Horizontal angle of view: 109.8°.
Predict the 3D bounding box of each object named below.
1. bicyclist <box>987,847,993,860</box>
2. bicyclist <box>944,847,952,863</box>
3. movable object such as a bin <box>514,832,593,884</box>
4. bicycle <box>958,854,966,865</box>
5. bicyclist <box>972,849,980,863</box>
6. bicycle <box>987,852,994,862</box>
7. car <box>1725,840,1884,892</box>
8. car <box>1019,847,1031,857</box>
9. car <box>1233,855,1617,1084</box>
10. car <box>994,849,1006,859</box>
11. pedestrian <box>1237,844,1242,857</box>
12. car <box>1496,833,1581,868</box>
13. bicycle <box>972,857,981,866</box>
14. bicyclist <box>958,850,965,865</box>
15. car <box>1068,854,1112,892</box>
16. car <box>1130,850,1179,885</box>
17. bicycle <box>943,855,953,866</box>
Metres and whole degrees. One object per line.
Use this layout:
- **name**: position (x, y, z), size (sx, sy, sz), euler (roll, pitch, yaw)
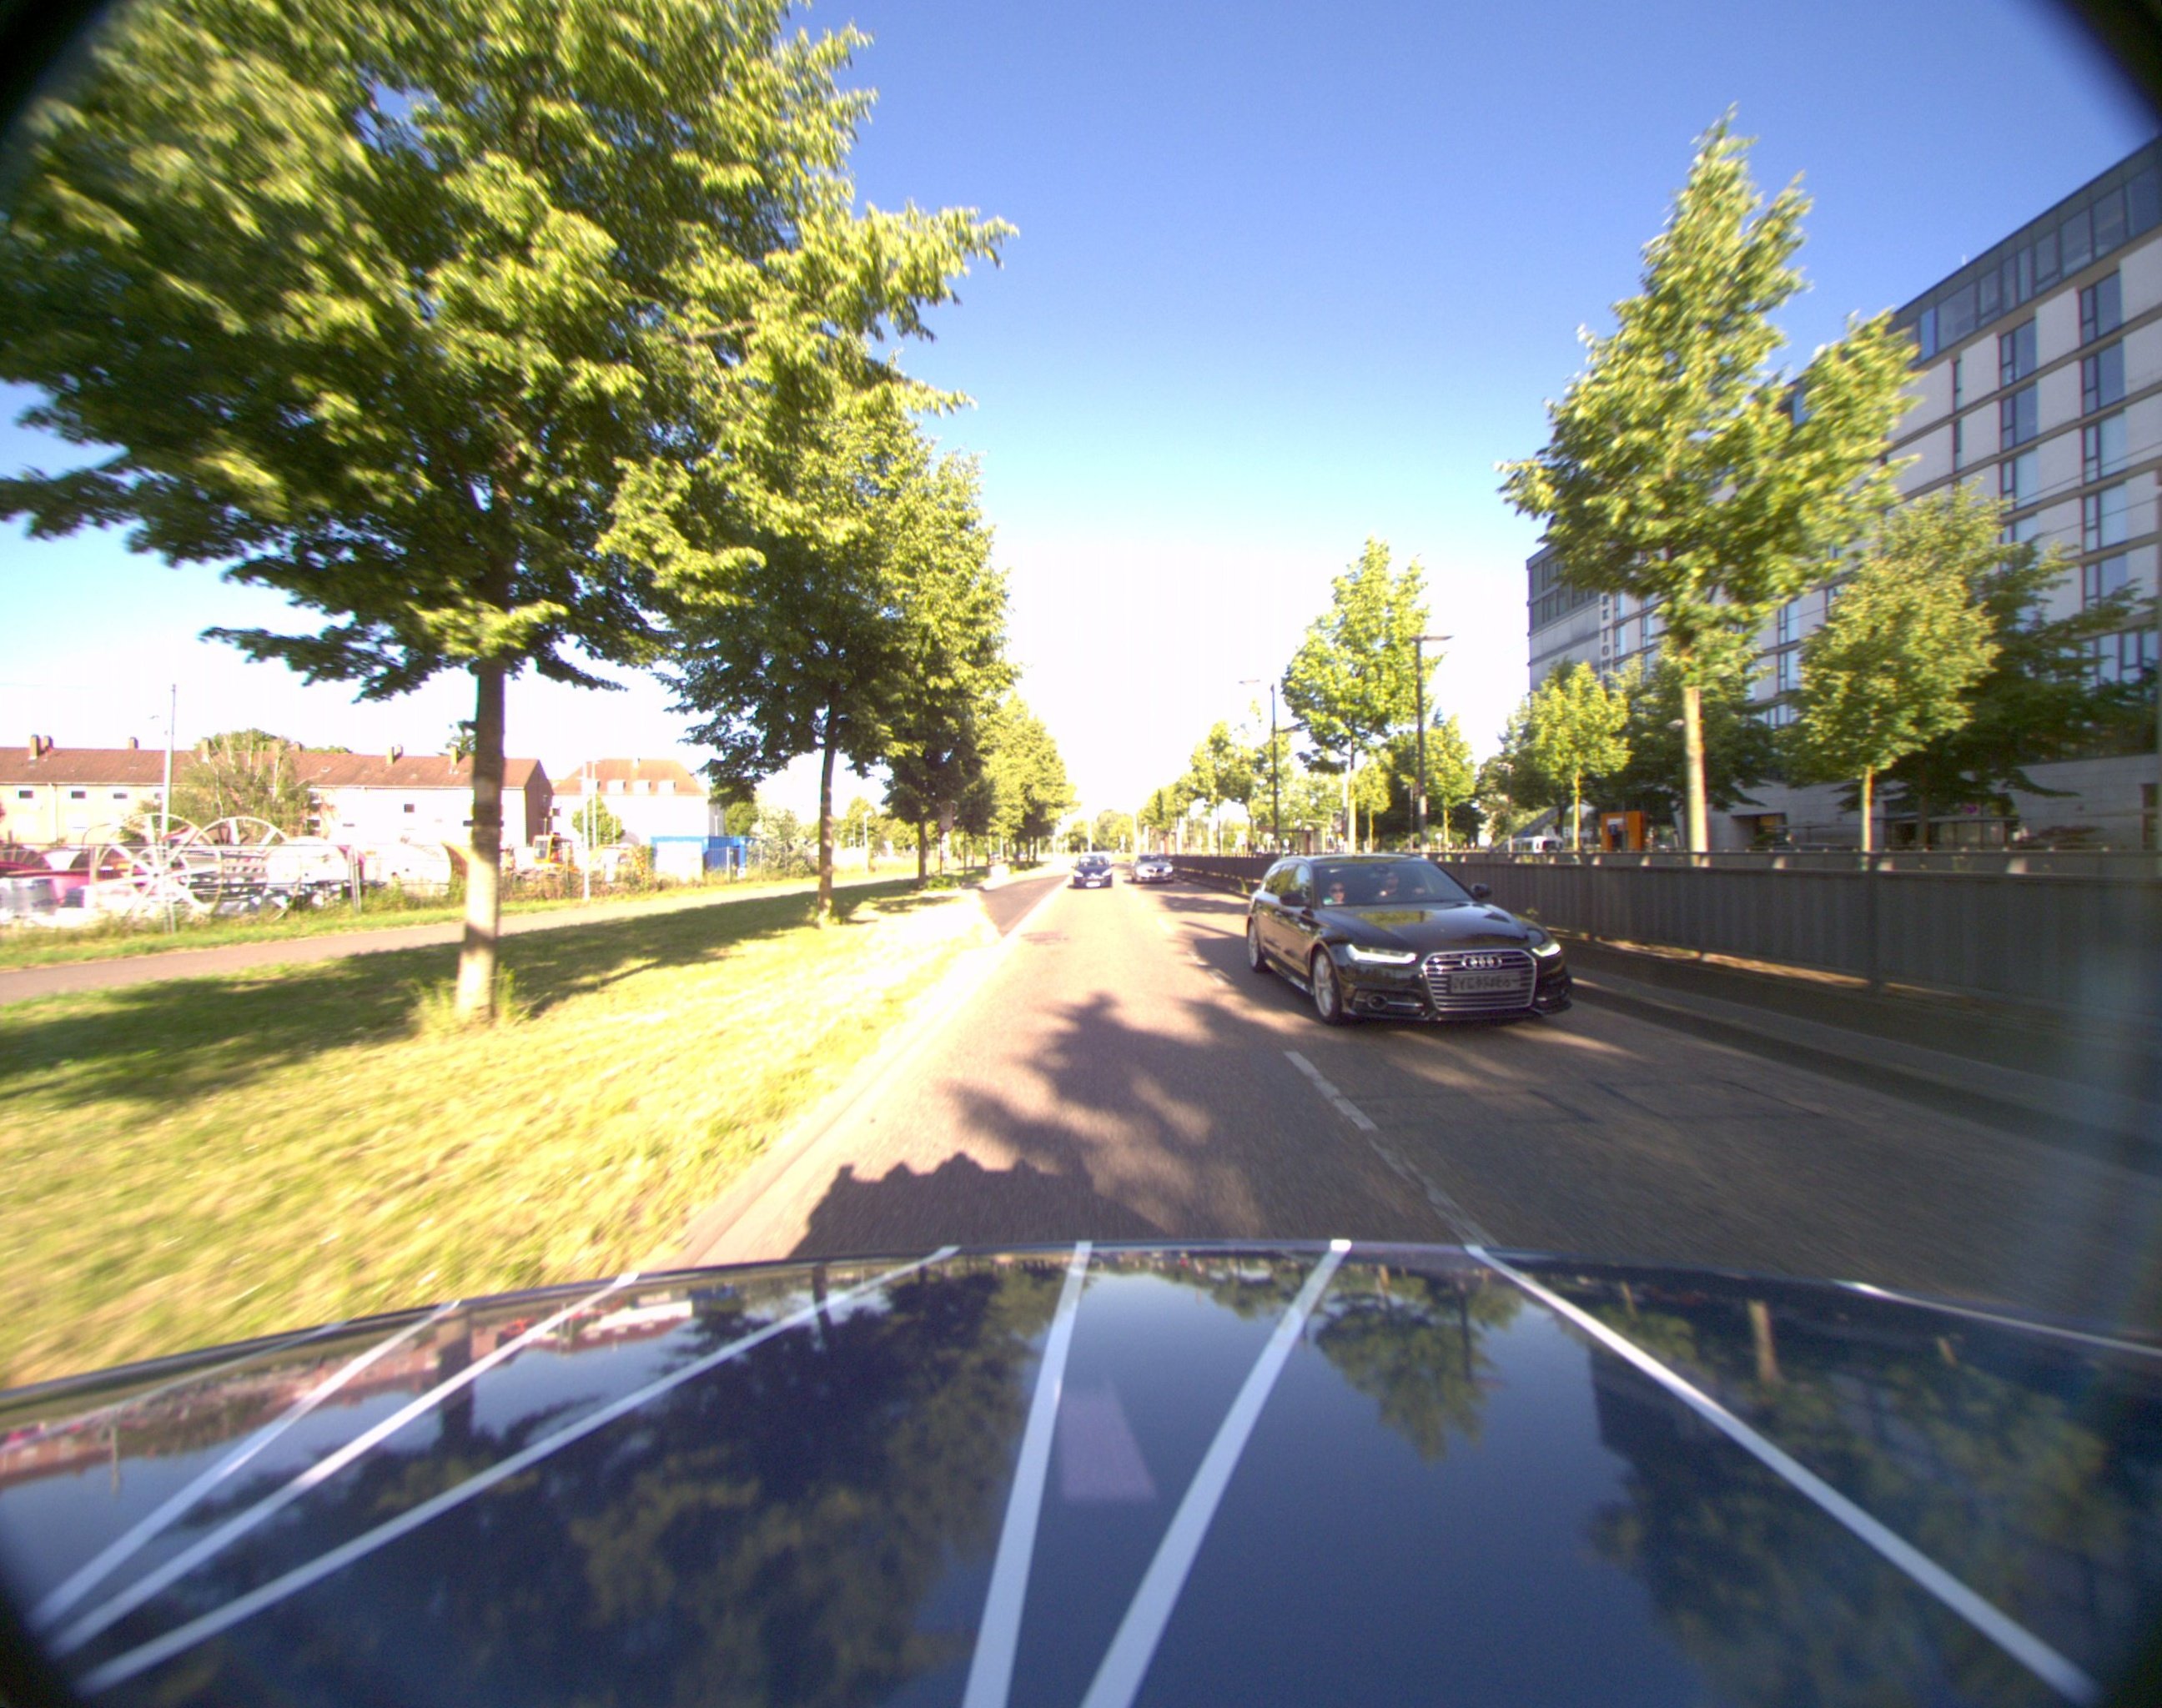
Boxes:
- **bicyclist**: position (-10.534, -0.060, 88.080), size (0.471, 1.478, 0.915), euler (-1, 2, 3)
- **bicyclist**: position (-13.276, 0.098, 75.864), size (0.654, 1.544, 0.794), euler (-1, 2, 2)
- **movable object such as a bin**: position (-21.200, 0.131, 30.579), size (1.799, 2.002, 1.789), euler (-1, 2, 2)
- **bicycle**: position (-11.866, 0.545, 75.599), size (0.507, 1.145, 1.605), euler (0, 1, 1)
- **bicyclist**: position (-12.142, 0.240, 87.903), size (0.592, 1.578, 0.965), euler (-1, 2, 4)
- **bicycle**: position (-10.522, 0.391, 88.132), size (0.479, 1.076, 1.644), euler (-1, 2, 3)
- **car**: position (23.231, 0.345, 24.607), size (1.683, 1.512, 3.700), euler (-1, 0, 1)
- **car**: position (-9.522, -0.322, 129.864), size (1.701, 1.555, 3.675), euler (-1, 1, 1)
- **car**: position (2.895, 0.822, 7.675), size (1.789, 1.518, 4.600), euler (-2, 1, 0)
- **car**: position (-14.378, -0.045, 135.434), size (1.683, 1.630, 3.247), euler (-1, 1, 1)
- **pedestrian**: position (18.812, -0.398, 90.132), size (0.418, 1.569, 0.811), euler (-1, 2, -1)
- **car**: position (24.021, -0.201, 40.055), size (1.998, 1.740, 4.227), euler (-1, 1, 1)
- **bicycle**: position (-12.123, 0.823, 87.999), size (0.592, 0.955, 1.900), euler (-1, 2, 4)
- **bicyclist**: position (-11.866, 0.311, 75.567), size (0.504, 1.464, 0.833), euler (-1, 2, 1)
- **car**: position (0.445, 0.778, 33.035), size (1.763, 1.506, 3.948), euler (-1, 1, 2)
- **car**: position (3.530, 0.604, 37.319), size (1.849, 1.560, 4.527), euler (-1, 1, -1)
- **bicycle**: position (-13.283, 0.629, 75.851), size (0.657, 1.006, 1.820), euler (-1, 1, 1)
